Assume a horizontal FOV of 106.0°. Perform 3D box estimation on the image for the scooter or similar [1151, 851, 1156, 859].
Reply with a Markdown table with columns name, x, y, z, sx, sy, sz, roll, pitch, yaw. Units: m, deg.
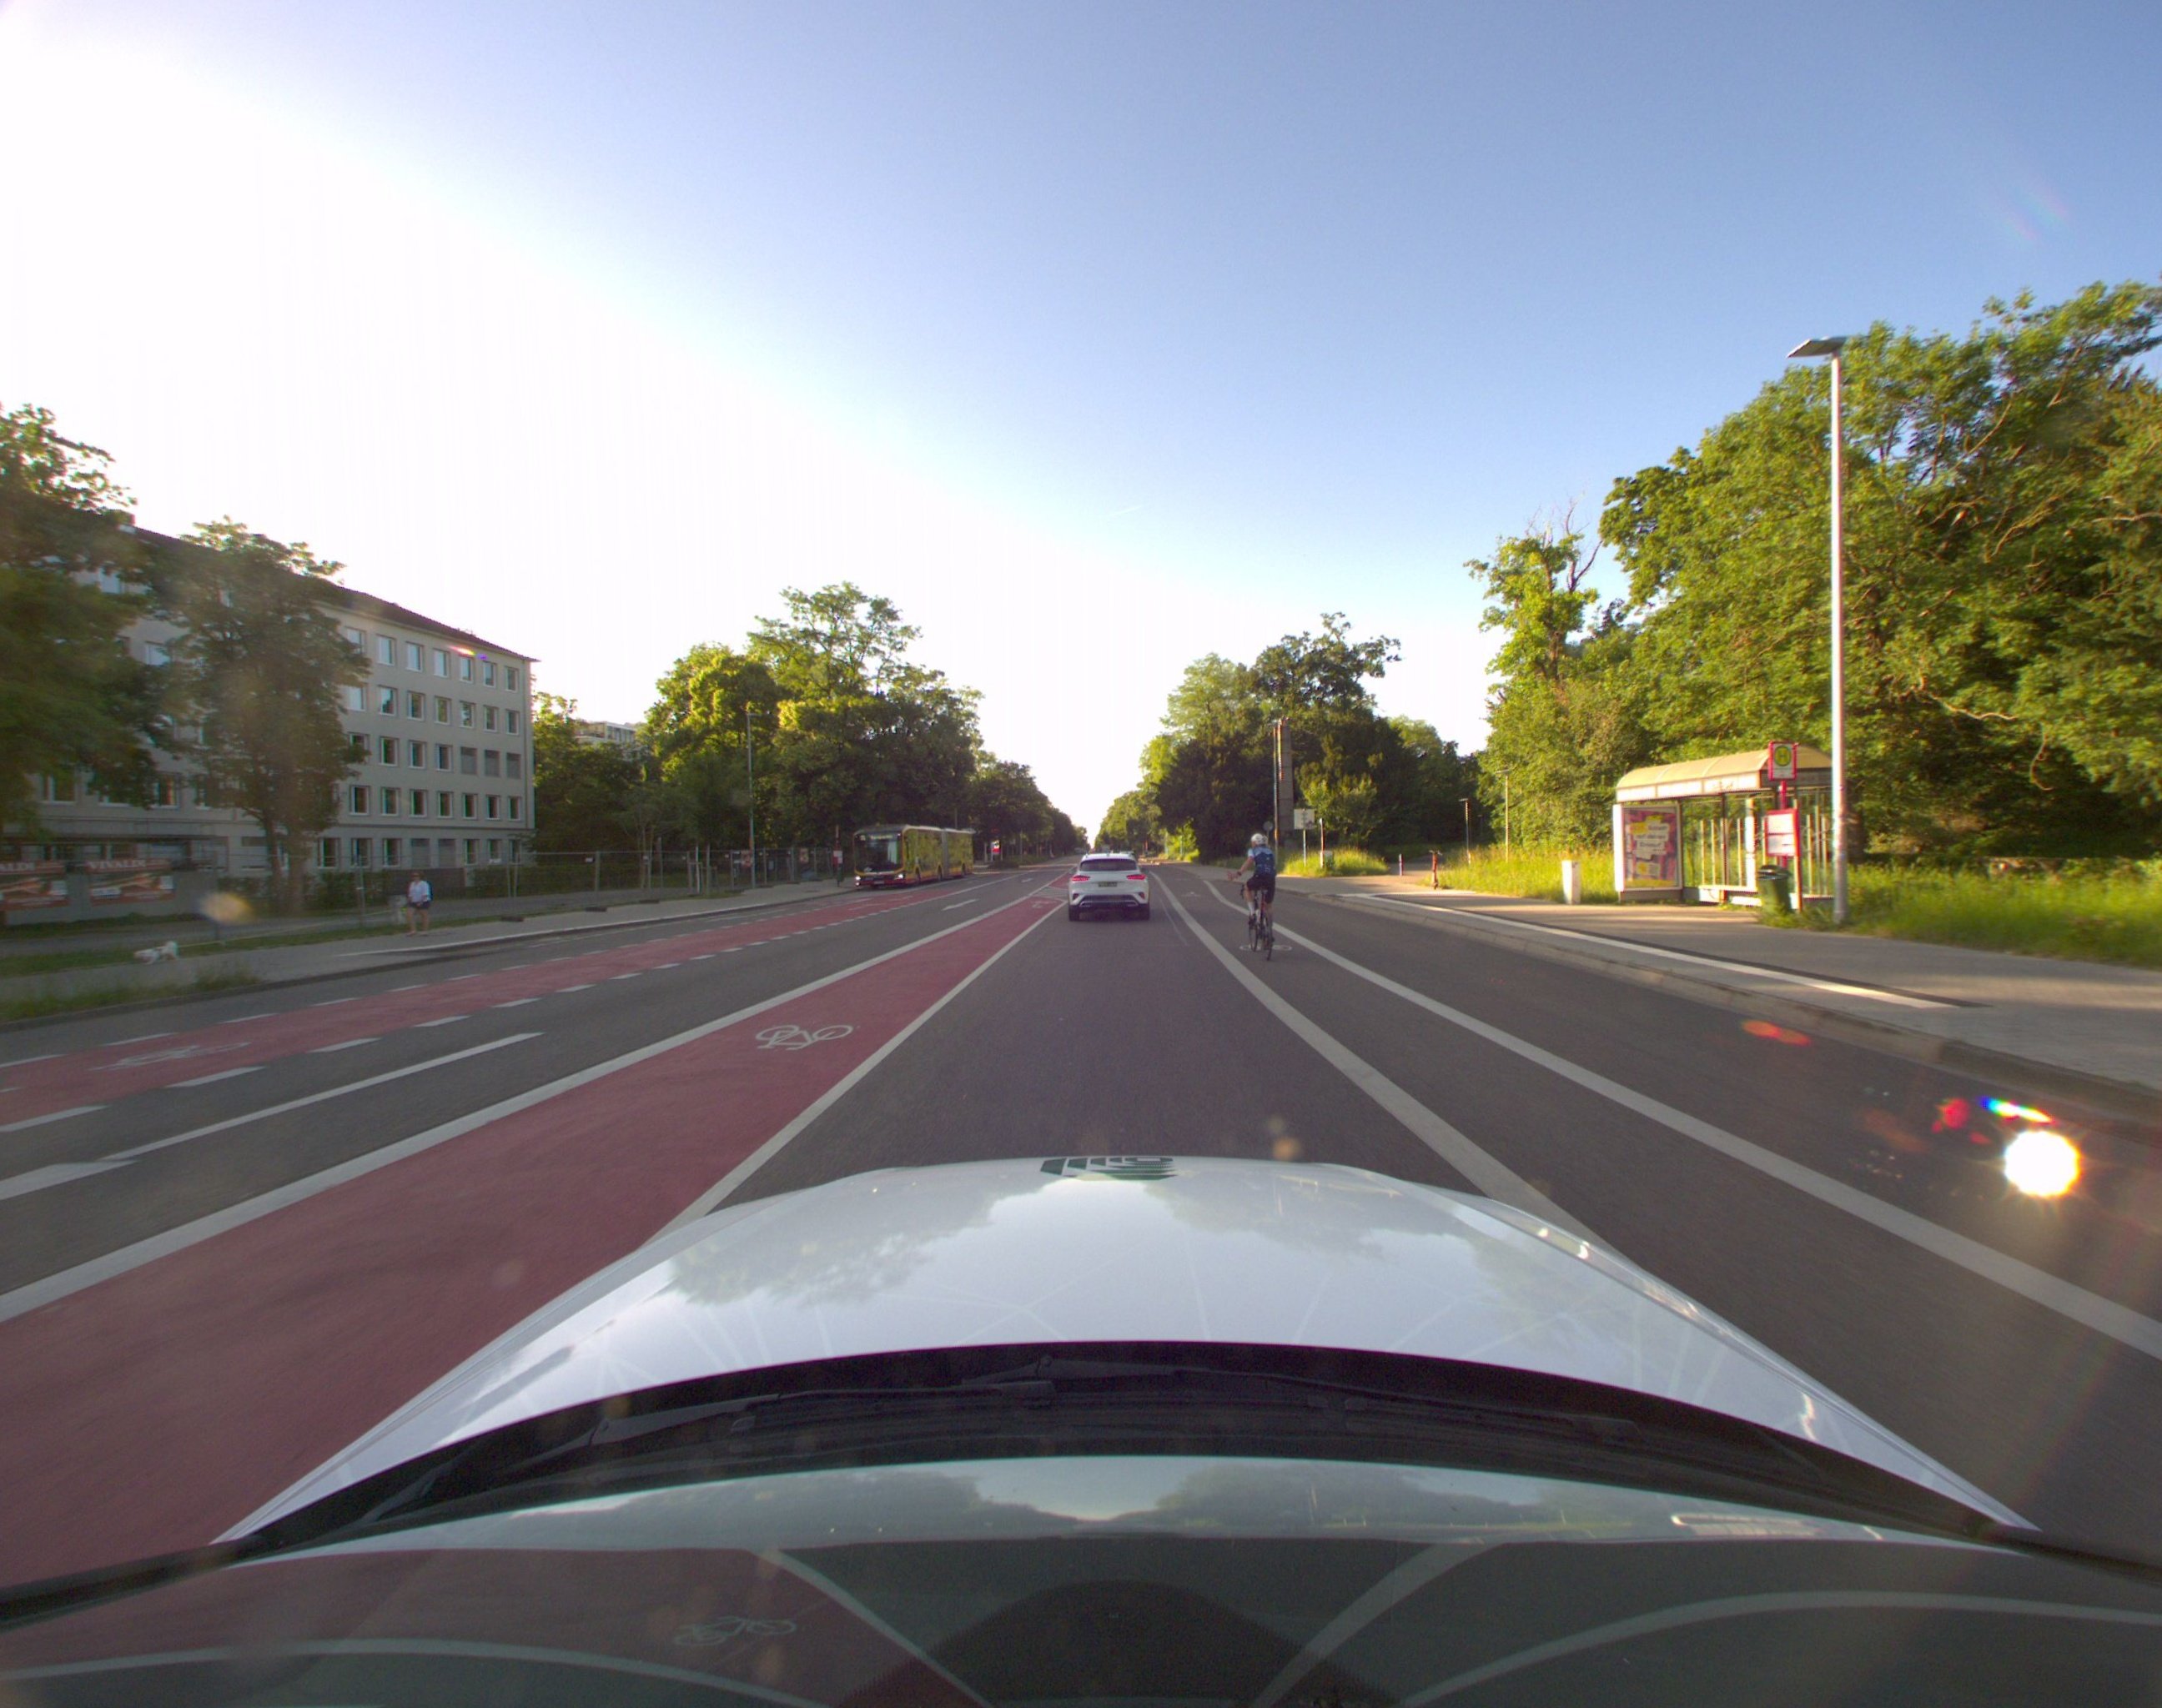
| name | x | y | z | sx | sy | sz | roll | pitch | yaw |
| --- | --- | --- | --- | --- | --- | --- | --- | --- | --- |
| scooter or similar | 13.631 | 0.189 | 153.407 | 0.679 | 1.423 | 1.682 | -2 | 0 | 1 |

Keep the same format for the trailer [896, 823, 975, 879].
| name | x | y | z | sx | sy | sz | roll | pitch | yaw |
| --- | --- | --- | --- | --- | --- | --- | --- | --- | --- |
| trailer | -9.260 | -0.173 | 53.048 | 2.842 | 3.355 | 9.372 | 0 | 0 | 4 |

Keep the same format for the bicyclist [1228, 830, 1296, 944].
| name | x | y | z | sx | sy | sz | roll | pitch | yaw |
| --- | --- | --- | --- | --- | --- | --- | --- | --- | --- |
| bicyclist | 2.573 | 0.455 | 11.651 | 0.855 | 1.567 | 0.883 | 0 | 0 | 6 |

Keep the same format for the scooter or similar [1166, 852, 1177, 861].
| name | x | y | z | sx | sy | sz | roll | pitch | yaw |
| --- | --- | --- | --- | --- | --- | --- | --- | --- | --- |
| scooter or similar | 12.225 | 0.356 | 109.790 | 1.550 | 1.250 | 0.528 | -2 | 0 | -42 |

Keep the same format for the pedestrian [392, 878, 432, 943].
| name | x | y | z | sx | sy | sz | roll | pitch | yaw |
| --- | --- | --- | --- | --- | --- | --- | --- | --- | --- |
| pedestrian | -16.260 | 1.367 | 19.792 | 0.450 | 1.534 | 0.571 | -2 | 0 | -2 |

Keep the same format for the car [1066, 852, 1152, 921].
| name | x | y | z | sx | sy | sz | roll | pitch | yaw |
| --- | --- | --- | --- | --- | --- | --- | --- | --- | --- |
| car | 0.561 | 0.696 | 19.281 | 1.757 | 1.459 | 3.814 | 0 | 0 | -2 |

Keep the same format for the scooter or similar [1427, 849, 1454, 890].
| name | x | y | z | sx | sy | sz | roll | pitch | yaw |
| --- | --- | --- | --- | --- | --- | --- | --- | --- | --- |
| scooter or similar | 11.429 | 0.471 | 25.892 | 0.715 | 1.247 | 1.336 | -2 | 0 | 25 |

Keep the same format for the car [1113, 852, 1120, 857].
| name | x | y | z | sx | sy | sz | roll | pitch | yaw |
| --- | --- | --- | --- | --- | --- | --- | --- | --- | --- |
| car | 10.274 | 0.239 | 235.912 | 1.987 | 1.327 | 4.000 | -2 | 0 | 1 |

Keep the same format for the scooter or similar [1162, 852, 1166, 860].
| name | x | y | z | sx | sy | sz | roll | pitch | yaw |
| --- | --- | --- | --- | --- | --- | --- | --- | --- | --- |
| scooter or similar | 13.031 | 0.244 | 127.639 | 0.531 | 1.250 | 1.542 | -2 | 0 | 1 |

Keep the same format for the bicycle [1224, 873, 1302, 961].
| name | x | y | z | sx | sy | sz | roll | pitch | yaw |
| --- | --- | --- | --- | --- | --- | --- | --- | --- | --- |
| bicycle | 2.590 | 0.861 | 11.821 | 0.886 | 1.095 | 2.140 | 0 | 0 | 7 |

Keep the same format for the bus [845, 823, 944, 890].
| name | x | y | z | sx | sy | sz | roll | pitch | yaw |
| --- | --- | --- | --- | --- | --- | --- | --- | --- | --- |
| bus | -9.827 | 0.107 | 44.114 | 2.828 | 3.196 | 8.607 | -2 | 0 | 3 |

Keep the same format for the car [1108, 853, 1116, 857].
| name | x | y | z | sx | sy | sz | roll | pitch | yaw |
| --- | --- | --- | --- | --- | --- | --- | --- | --- | --- |
| car | 9.577 | 0.240 | 251.625 | 1.989 | 1.327 | 3.996 | -2 | 0 | -2 |

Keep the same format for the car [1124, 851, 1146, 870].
| name | x | y | z | sx | sy | sz | roll | pitch | yaw |
| --- | --- | --- | --- | --- | --- | --- | --- | --- | --- |
| car | 4.307 | 0.522 | 64.522 | 1.668 | 1.417 | 3.579 | -2 | 0 | 5 |
